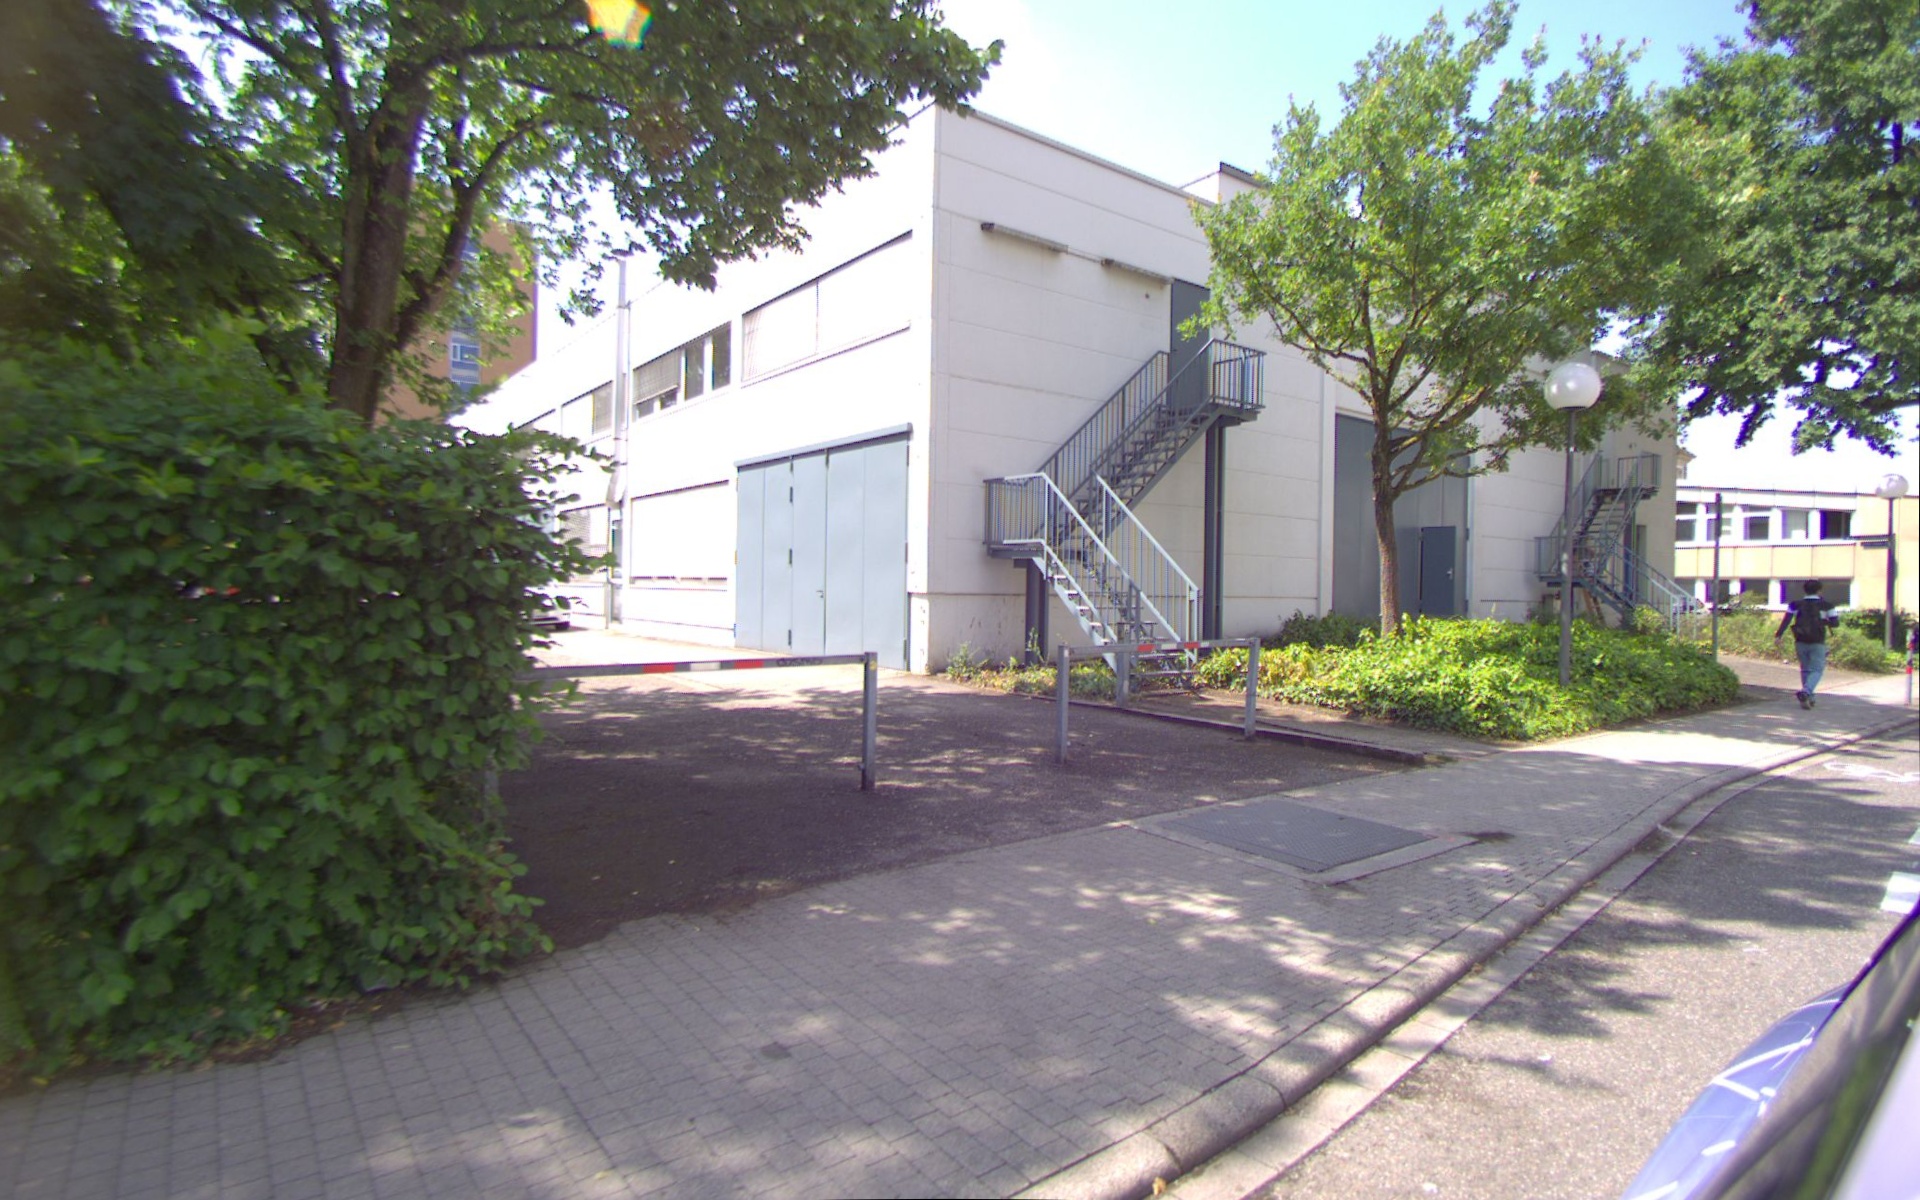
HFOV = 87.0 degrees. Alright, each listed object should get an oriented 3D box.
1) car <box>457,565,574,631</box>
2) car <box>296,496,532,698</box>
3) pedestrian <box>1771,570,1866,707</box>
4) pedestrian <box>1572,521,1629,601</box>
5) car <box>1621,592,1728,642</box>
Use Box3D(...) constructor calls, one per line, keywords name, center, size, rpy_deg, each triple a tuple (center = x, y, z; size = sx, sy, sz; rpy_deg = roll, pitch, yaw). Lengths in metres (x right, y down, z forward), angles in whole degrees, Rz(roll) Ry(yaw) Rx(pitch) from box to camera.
Box3D(name="car", center=(-11.620, -0.122, 26.310), size=(1.963, 1.562, 4.094), rpy_deg=(-2, 2, -36))
Box3D(name="car", center=(-7.078, -0.095, 12.825), size=(2.023, 2.039, 4.841), rpy_deg=(0, 1, -36))
Box3D(name="pedestrian", center=(11.210, 0.468, 13.212), size=(1.234, 1.695, 0.741), rpy_deg=(0, 1, -40))
Box3D(name="pedestrian", center=(16.724, -1.005, 26.429), size=(0.931, 2.039, 0.930), rpy_deg=(1, 1, -33))
Box3D(name="car", center=(23.402, 0.524, 33.107), size=(4.104, 1.495, 1.672), rpy_deg=(0, 1, -37))
